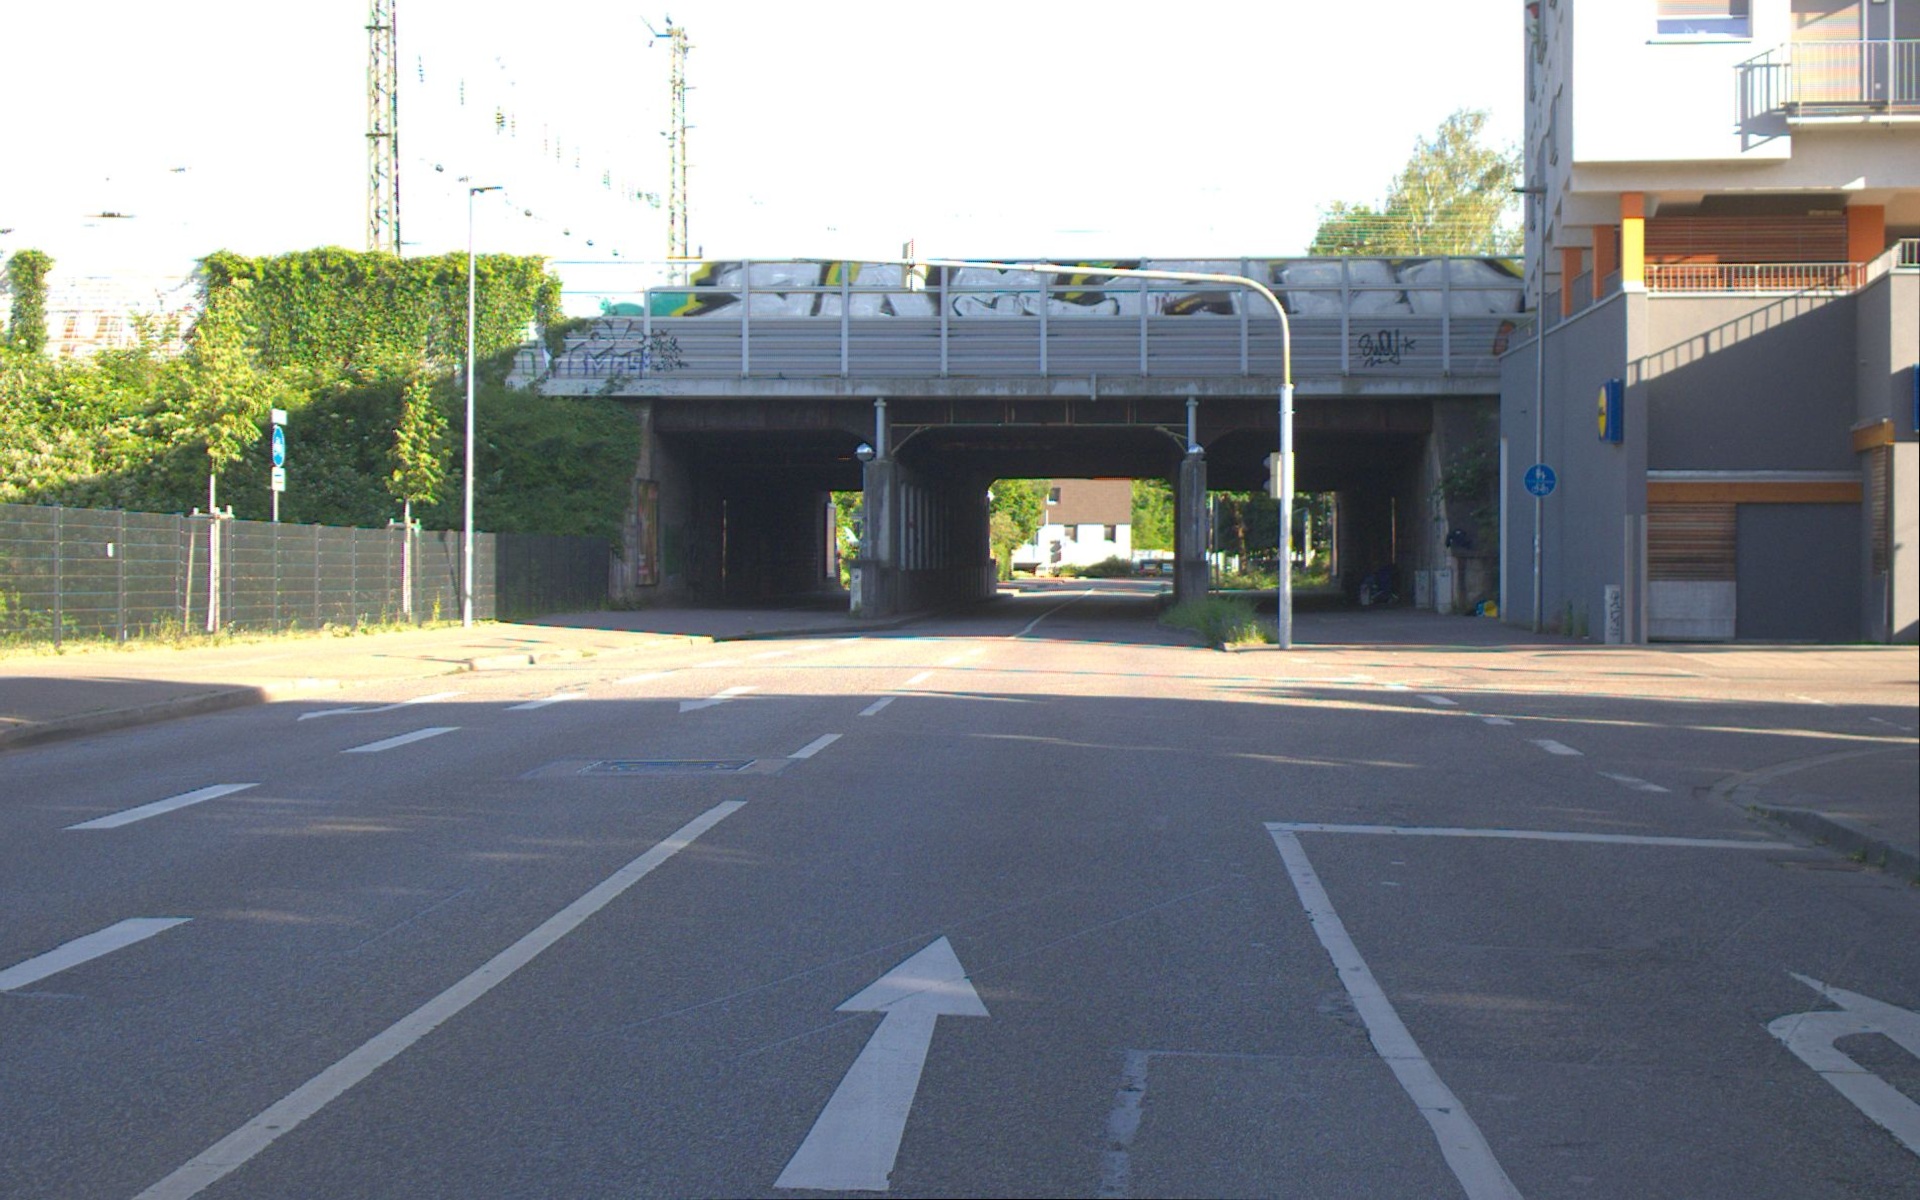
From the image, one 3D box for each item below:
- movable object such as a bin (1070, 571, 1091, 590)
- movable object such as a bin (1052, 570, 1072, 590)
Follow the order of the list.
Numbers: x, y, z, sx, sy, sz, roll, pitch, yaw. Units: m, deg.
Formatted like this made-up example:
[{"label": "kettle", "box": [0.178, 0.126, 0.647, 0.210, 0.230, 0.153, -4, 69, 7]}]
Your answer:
[{"label": "movable object such as a bin", "box": [9.052, -1.460, 258.416, 1.365, 1.413, 1.066, 3, -1, -4]}, {"label": "movable object such as a bin", "box": [7.648, -1.528, 258.249, 1.365, 1.413, 1.066, 3, -1, -4]}]
